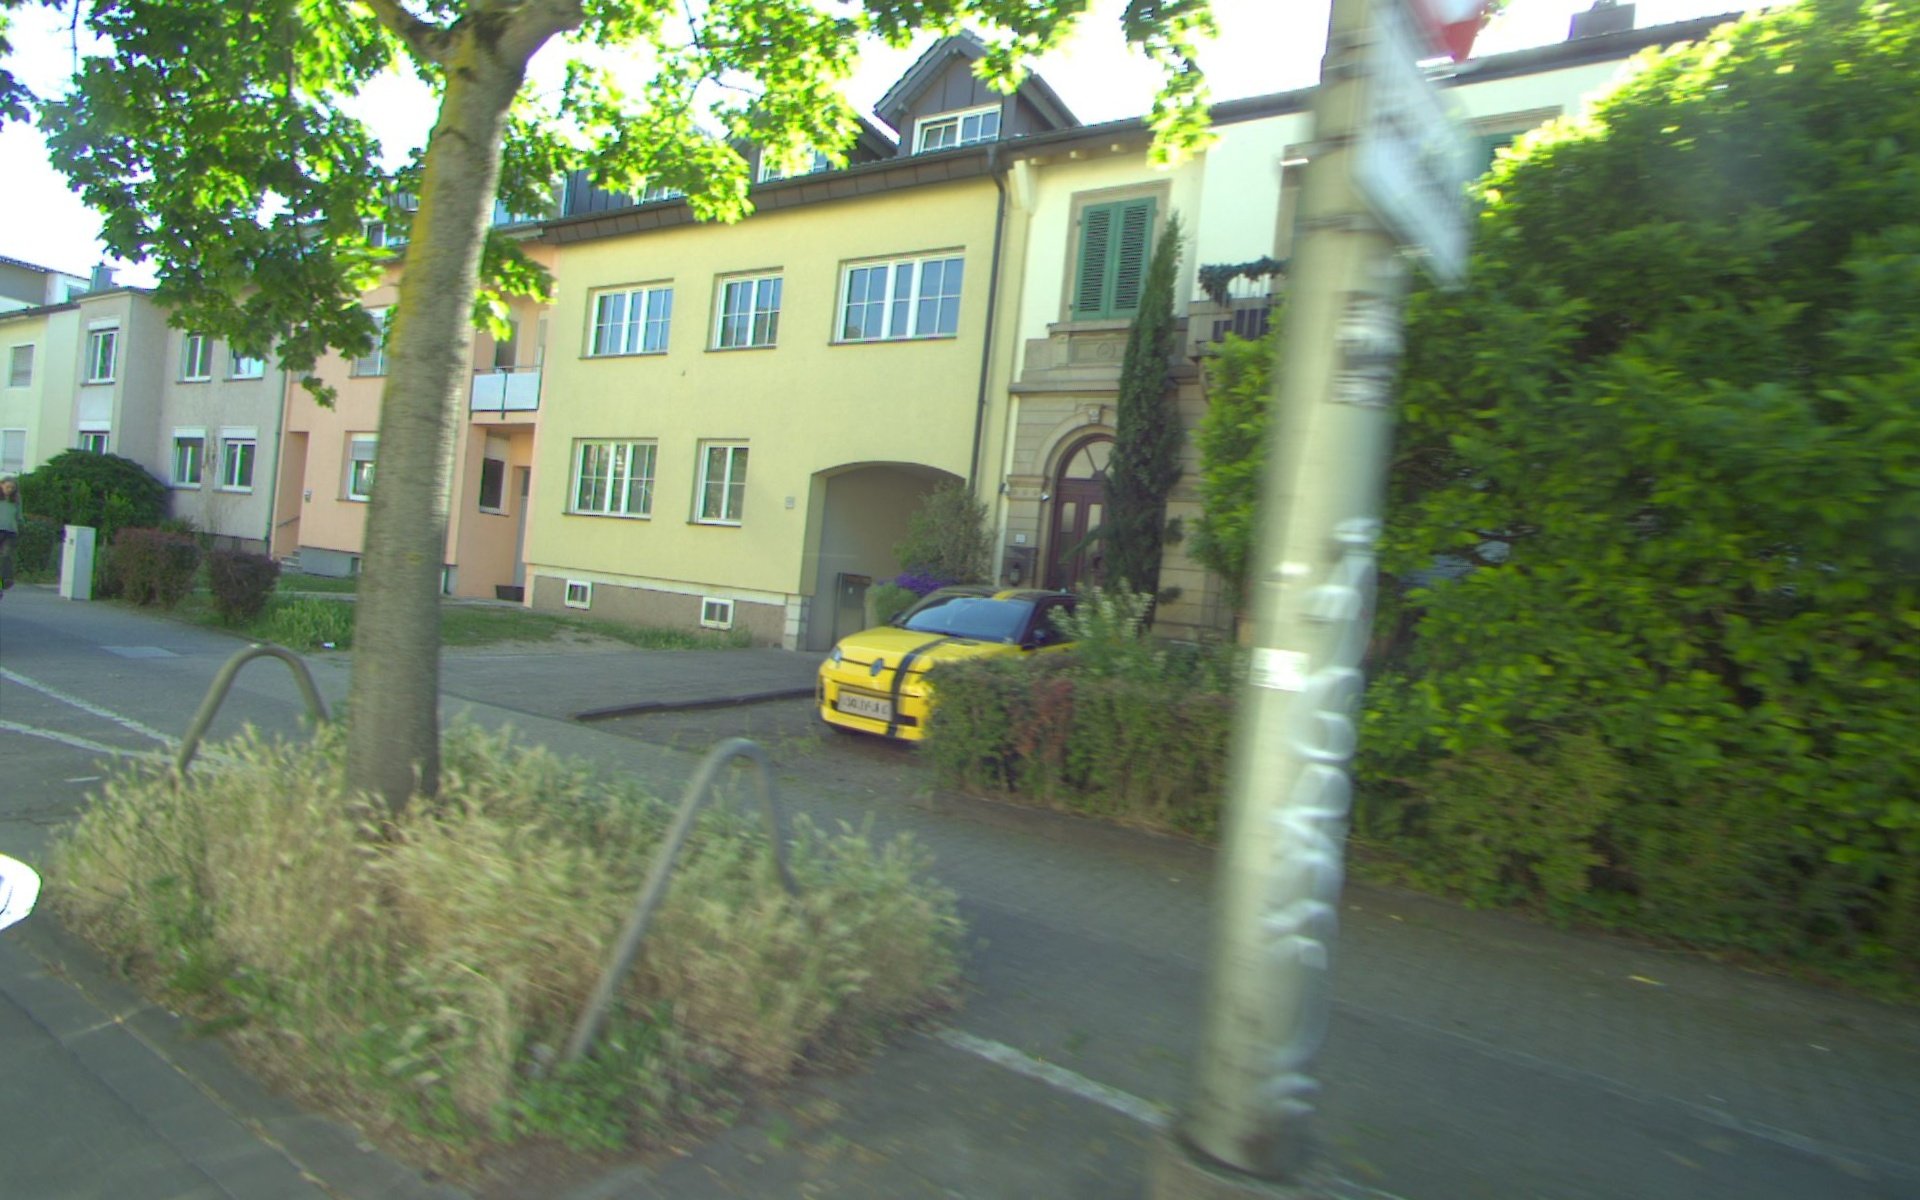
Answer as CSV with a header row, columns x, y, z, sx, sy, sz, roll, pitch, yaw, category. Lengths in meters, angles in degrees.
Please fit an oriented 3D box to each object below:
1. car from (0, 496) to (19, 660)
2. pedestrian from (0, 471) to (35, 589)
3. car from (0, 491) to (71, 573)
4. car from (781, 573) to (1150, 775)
x,y,z,sx,sy,sz,roll,pitch,yaw,category
-10.378,-0.396,9.152,3.904,1.422,1.649,7,2,31,car
-14.066,-1.036,14.759,0.485,1.699,0.538,7,2,32,pedestrian
-18.413,-1.371,18.940,3.656,1.374,1.531,7,3,32,car
0.272,0.582,10.071,1.801,1.461,3.985,7,3,32,car
